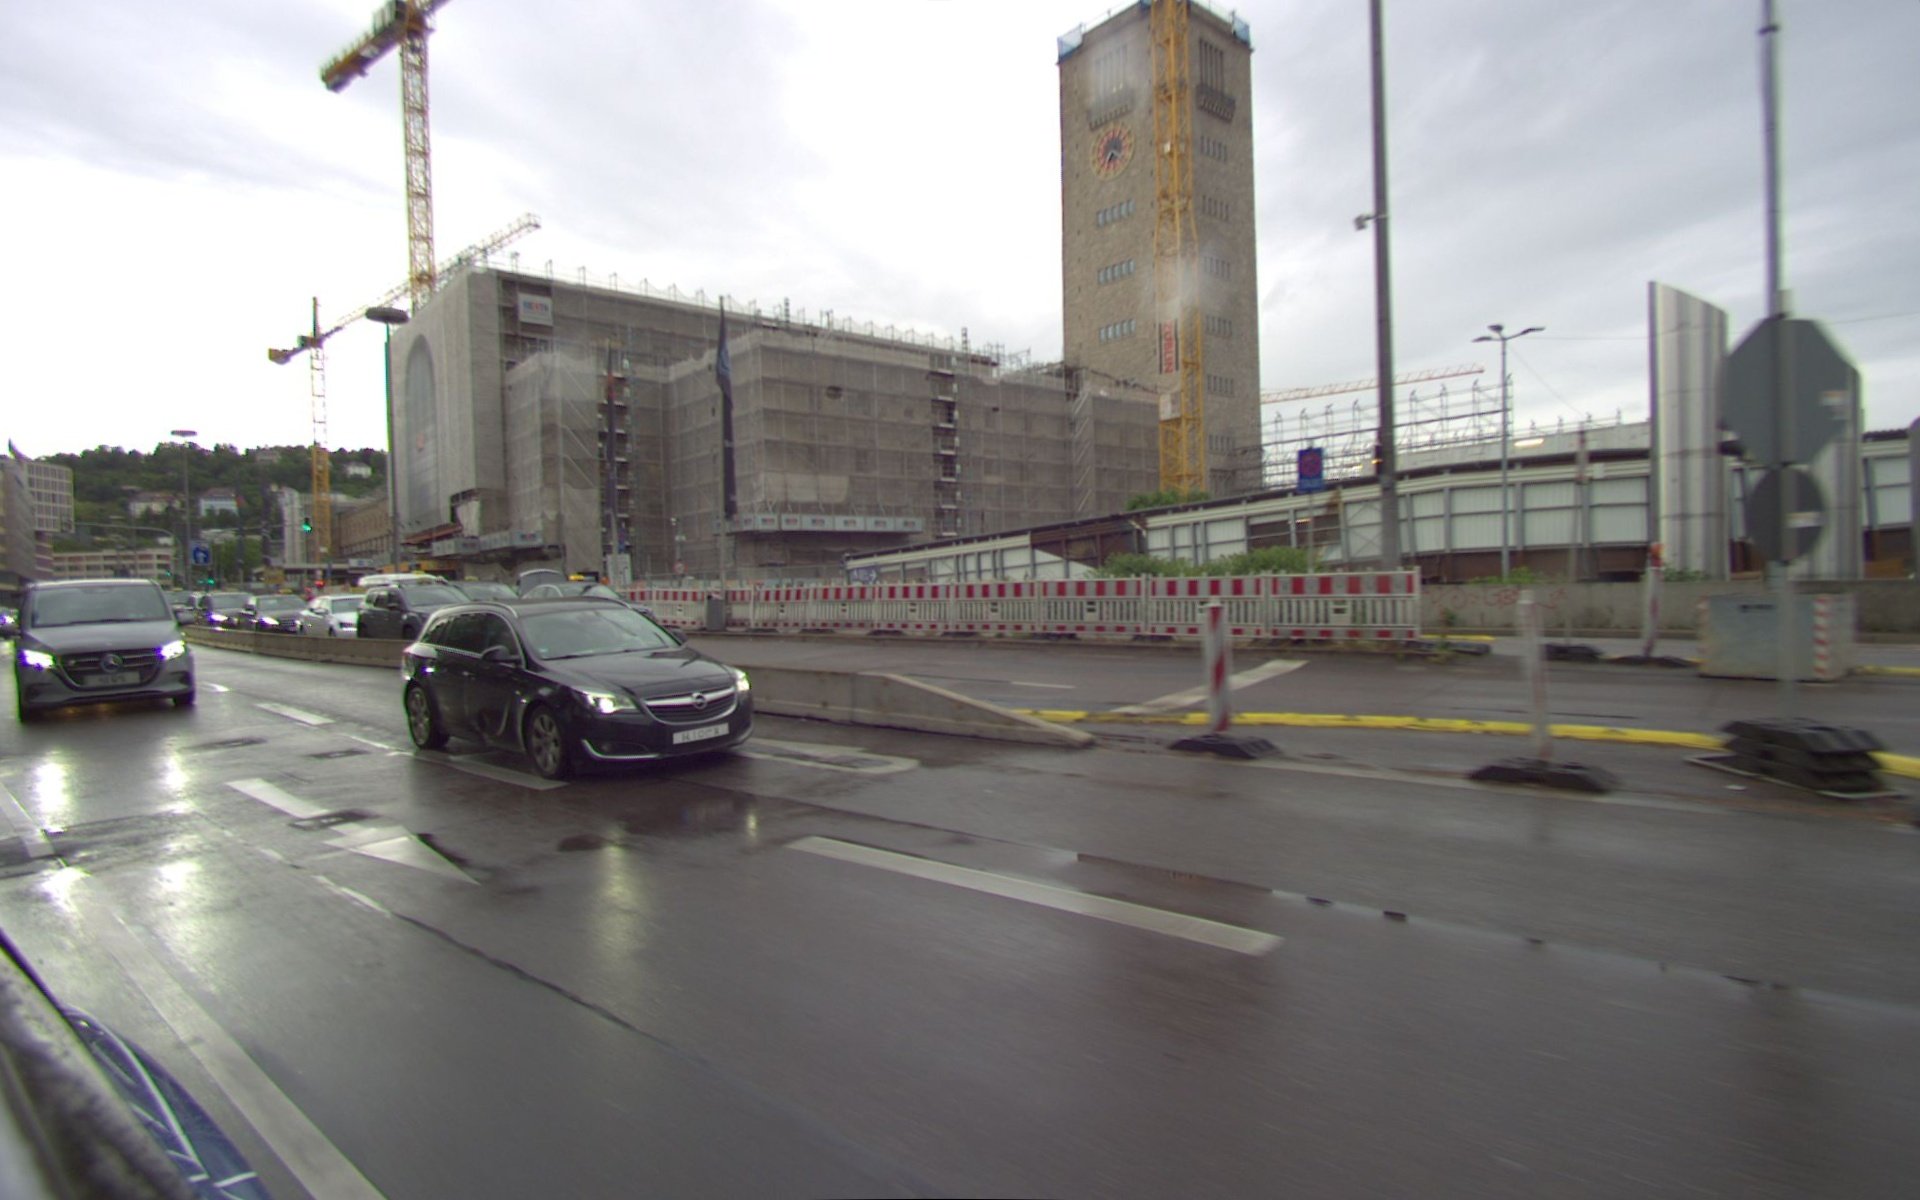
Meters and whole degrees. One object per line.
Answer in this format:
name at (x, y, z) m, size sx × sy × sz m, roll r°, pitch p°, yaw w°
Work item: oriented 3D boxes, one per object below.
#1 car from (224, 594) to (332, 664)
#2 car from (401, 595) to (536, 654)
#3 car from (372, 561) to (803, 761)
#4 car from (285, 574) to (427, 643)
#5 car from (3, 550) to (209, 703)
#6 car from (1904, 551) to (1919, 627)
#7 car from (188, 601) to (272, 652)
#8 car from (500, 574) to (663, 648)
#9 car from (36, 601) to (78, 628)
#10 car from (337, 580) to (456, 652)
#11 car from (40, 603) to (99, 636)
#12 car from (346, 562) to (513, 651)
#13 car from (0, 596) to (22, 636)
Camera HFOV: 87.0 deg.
car at (-22.520, 0.924, 33.352) m, size 4.714 × 2.130 × 1.972 m, roll -1°, pitch 0°, yaw 43°
car at (-14.245, 0.673, 29.278) m, size 3.999 × 1.585 × 2.144 m, roll -1°, pitch 0°, yaw 42°
car at (-3.807, 0.460, 9.797) m, size 4.917 × 1.475 × 1.789 m, roll -1°, pitch 0°, yaw 42°
car at (-16.176, 0.241, 26.980) m, size 4.901 × 1.666 × 1.972 m, roll -2°, pitch -1°, yaw 43°
car at (-12.869, 0.339, 15.169) m, size 1.970 × 1.870 × 5.363 m, roll -4°, pitch 2°, yaw -43°
car at (28.148, -0.362, 26.359) m, size 4.962 × 2.029 × 1.997 m, roll -1°, pitch 0°, yaw 5°
car at (-27.158, 0.931, 37.573) m, size 1.970 × 1.729 × 4.760 m, roll -1°, pitch 0°, yaw -43°
car at (-9.400, 0.259, 24.961) m, size 4.572 × 1.665 × 1.808 m, roll -1°, pitch 0°, yaw 41°
car at (-62.341, 0.996, 69.845) m, size 3.999 × 1.721 × 1.741 m, roll -1°, pitch 0°, yaw 42°
car at (-18.799, 0.500, 33.678) m, size 4.996 × 2.224 × 1.977 m, roll -1°, pitch 0°, yaw 42°
car at (-44.665, 0.976, 50.734) m, size 4.249 × 1.550 × 1.790 m, roll -1°, pitch 0°, yaw 43°
car at (-12.132, 0.134, 23.031) m, size 4.292 × 1.828 × 1.972 m, roll -1°, pitch 0°, yaw 42°
car at (-44.591, 0.739, 46.400) m, size 3.999 × 1.776 × 1.972 m, roll -1°, pitch 0°, yaw 42°
